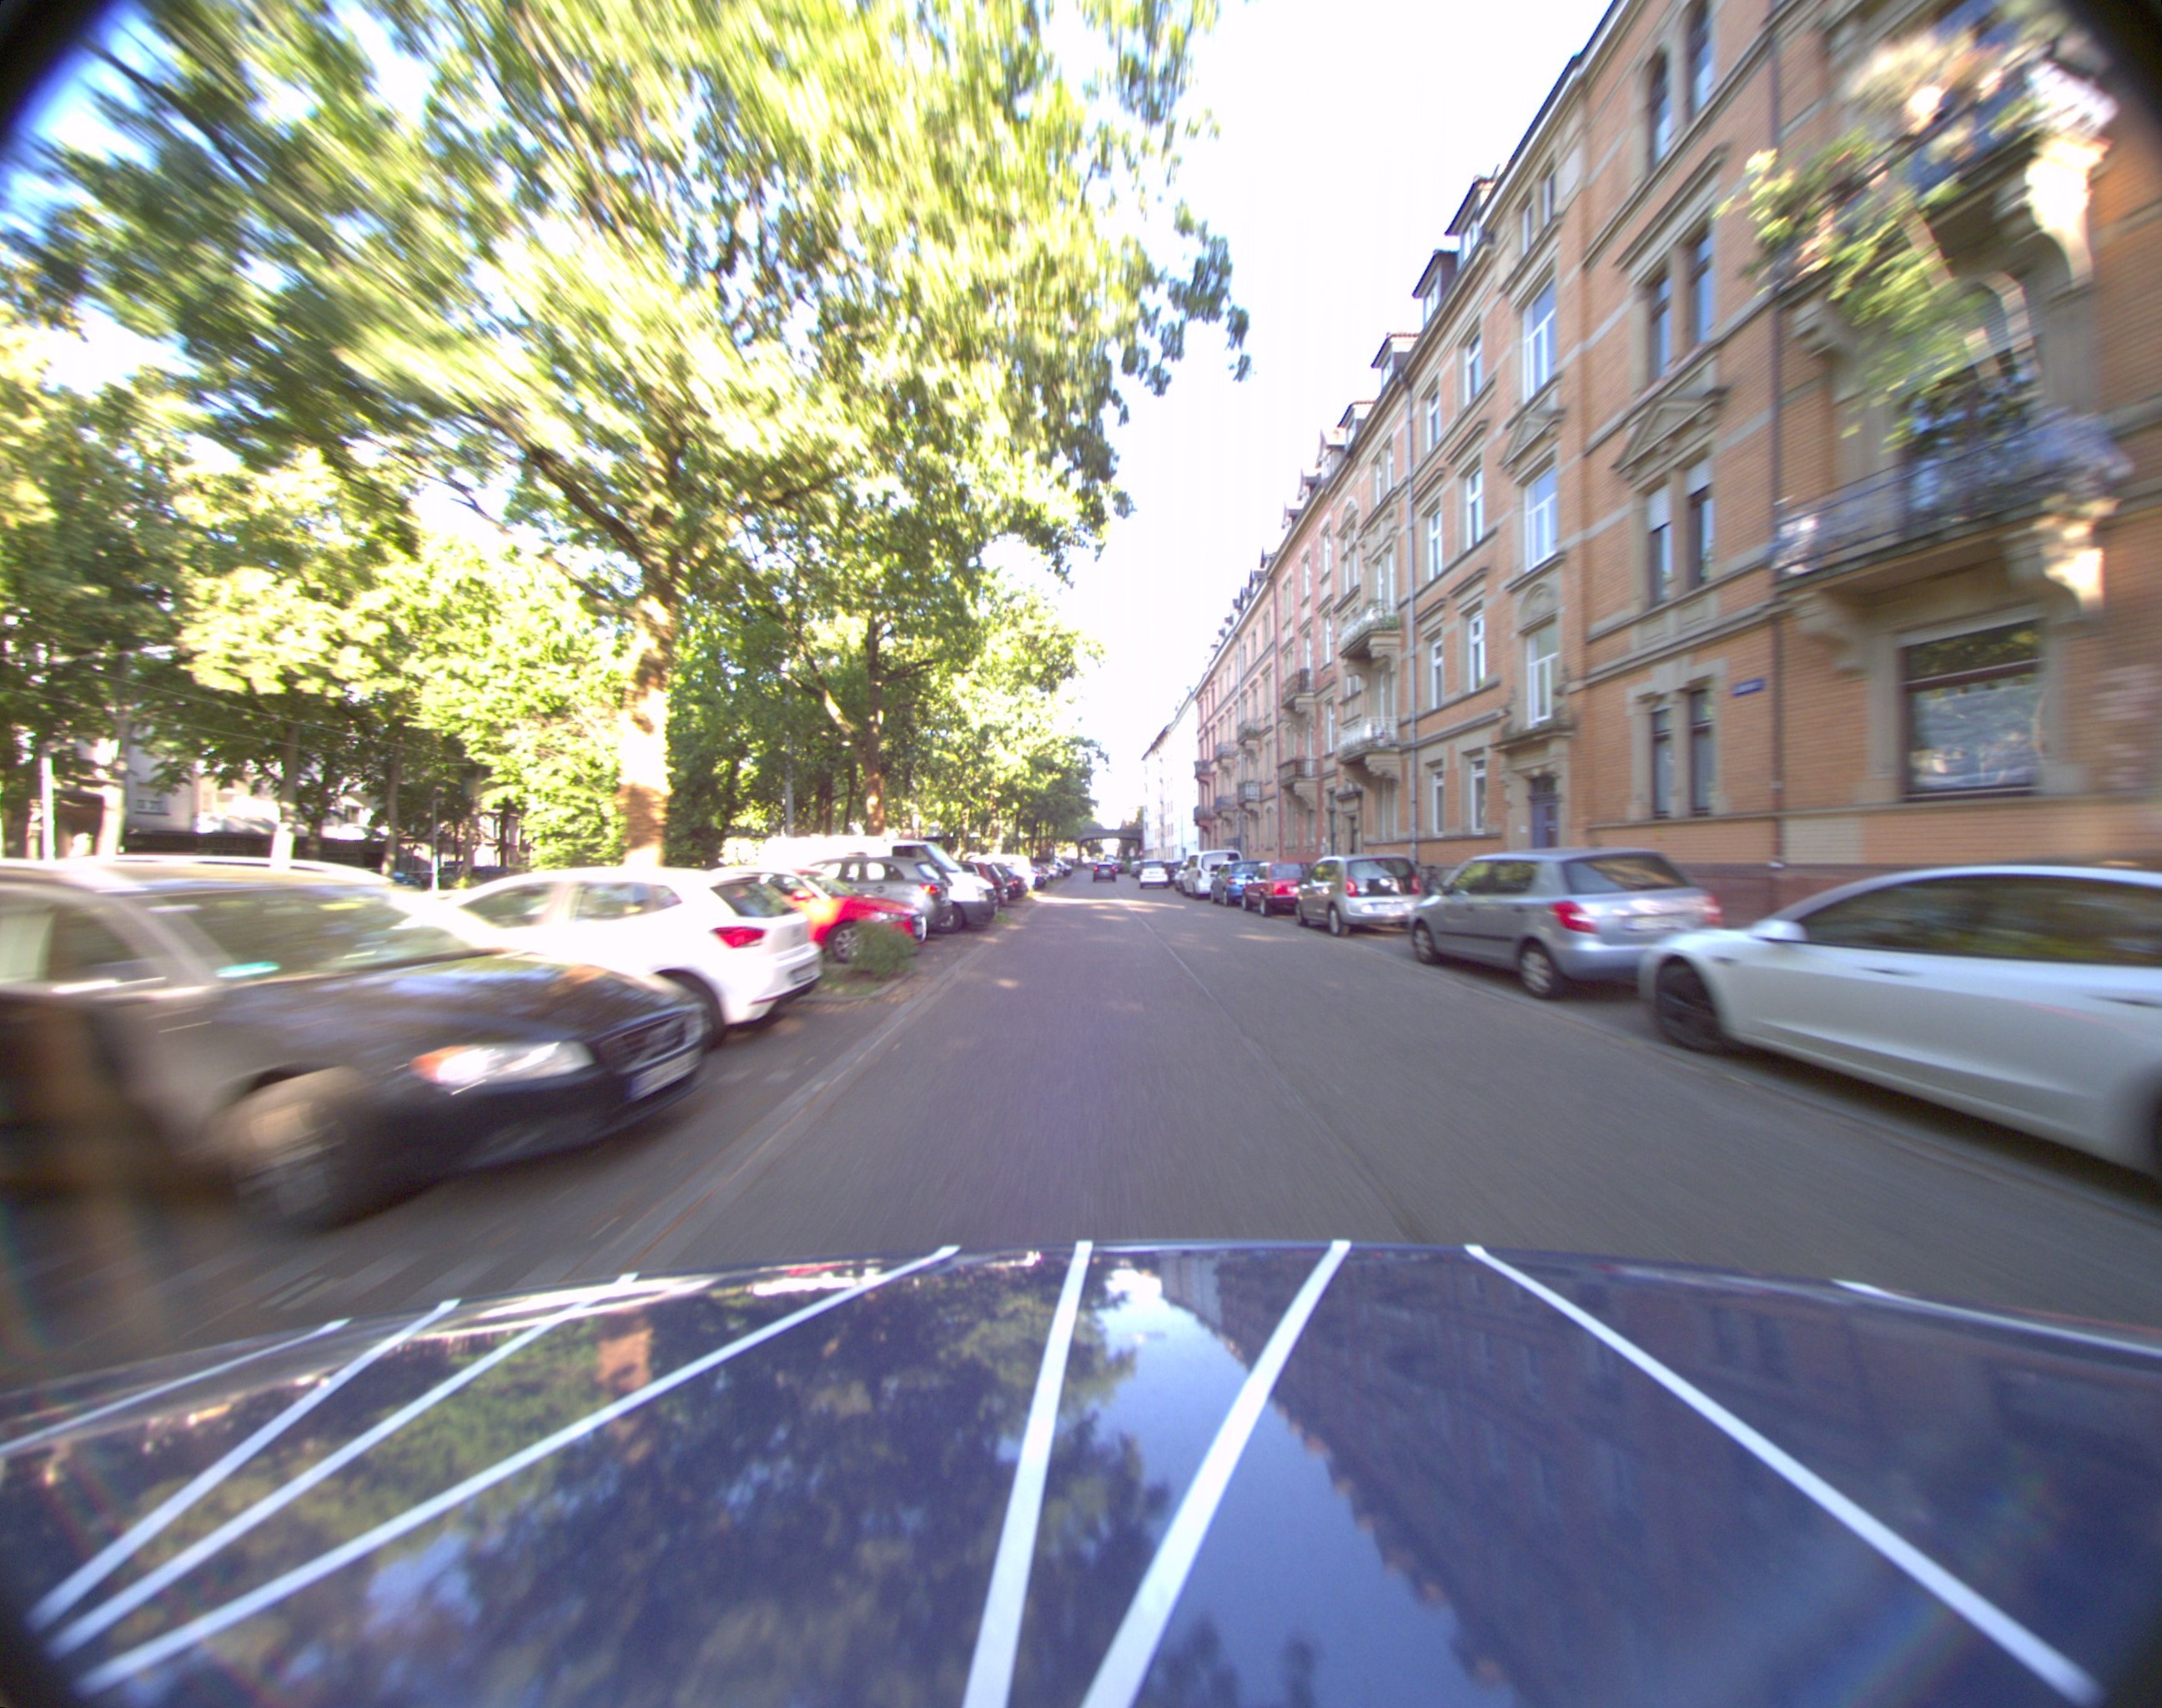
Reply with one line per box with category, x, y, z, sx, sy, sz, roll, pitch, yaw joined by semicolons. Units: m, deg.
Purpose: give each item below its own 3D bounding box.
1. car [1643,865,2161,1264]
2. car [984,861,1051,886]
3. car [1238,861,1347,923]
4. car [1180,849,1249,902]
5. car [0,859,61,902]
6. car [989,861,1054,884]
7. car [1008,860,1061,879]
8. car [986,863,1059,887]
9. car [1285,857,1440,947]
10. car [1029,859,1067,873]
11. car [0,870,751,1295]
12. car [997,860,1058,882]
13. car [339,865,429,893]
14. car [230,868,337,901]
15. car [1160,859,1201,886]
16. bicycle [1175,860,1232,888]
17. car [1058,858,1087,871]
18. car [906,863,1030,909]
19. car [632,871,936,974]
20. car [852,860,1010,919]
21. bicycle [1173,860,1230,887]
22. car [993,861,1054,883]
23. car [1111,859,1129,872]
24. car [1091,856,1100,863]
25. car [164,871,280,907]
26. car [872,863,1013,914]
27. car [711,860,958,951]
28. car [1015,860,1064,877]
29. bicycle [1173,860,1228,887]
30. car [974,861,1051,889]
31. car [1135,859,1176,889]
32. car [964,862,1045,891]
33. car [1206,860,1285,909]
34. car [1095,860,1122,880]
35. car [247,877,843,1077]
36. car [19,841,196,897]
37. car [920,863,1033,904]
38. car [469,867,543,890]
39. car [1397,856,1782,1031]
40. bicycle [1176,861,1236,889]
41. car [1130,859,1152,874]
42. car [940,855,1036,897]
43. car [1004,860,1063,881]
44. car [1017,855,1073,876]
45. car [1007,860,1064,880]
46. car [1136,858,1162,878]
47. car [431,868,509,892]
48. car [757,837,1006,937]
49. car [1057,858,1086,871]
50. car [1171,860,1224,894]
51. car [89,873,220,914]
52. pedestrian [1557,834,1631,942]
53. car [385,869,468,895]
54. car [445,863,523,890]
car;5.138;0.843;3.684;1.780;1.466;4.272;-3;0;3
car;-3.912;1.176;47.046;3.997;1.480;1.684;0;0;1
car;5.440;0.927;20.105;1.767;1.375;4.291;-3;0;2
car;5.307;0.825;30.800;1.912;1.871;4.725;-3;0;1
car;-39.615;0.944;26.624;2.000;1.558;4.608;0;0;-11
car;-3.789;1.179;49.009;3.997;1.480;1.684;0;0;1
car;-3.697;1.227;61.208;4.130;1.480;1.684;0;0;1
car;-3.316;1.207;43.541;3.997;1.331;1.684;0;0;1
car;5.310;0.839;14.852;1.688;1.466;3.709;-3;0;1
car;-3.616;1.326;83.935;4.130;1.480;1.684;0;0;1
car;-4.540;0.911;4.006;4.711;1.563;2.000;0;1;3
car;-3.775;1.181;53.950;4.130;1.513;1.684;0;0;1
car;-34.760;1.212;37.892;3.990;1.271;1.751;0;0;22
car;-33.519;1.252;31.943;3.990;1.271;1.751;0;0;22
car;5.953;1.082;45.813;1.880;1.433;4.393;-3;0;1
bicycle;6.689;1.099;41.579;3.043;1.476;0.817;0;0;1
car;-1.248;1.611;115.567;4.389;1.676;1.882;-3;0;1
car;-3.818;1.077;26.100;3.997;1.480;1.684;0;0;1
car;-4.394;0.993;11.656;3.997;1.415;1.684;0;0;1
car;-4.057;0.955;20.988;3.997;1.544;1.684;0;0;1
bicycle;6.722;1.101;42.465;3.043;1.476;0.817;0;0;1
car;-3.879;1.194;51.472;3.997;1.480;1.684;0;0;1
car;4.652;1.347;90.975;1.880;1.433;4.393;-3;0;1
car;3.165;1.223;167.105;1.880;1.433;4.393;-3;0;1
car;-33.337;1.320;29.490;3.990;1.271;1.751;0;0;22
car;-4.207;1.045;23.485;3.997;1.480;1.684;0;0;1
car;-4.419;0.898;14.064;3.997;1.570;1.766;0;0;-1
car;-3.605;1.243;65.859;4.130;1.480;1.684;0;0;1
bicycle;6.787;1.102;43.324;3.043;1.476;0.817;0;0;1
car;-3.703;1.116;41.601;3.997;1.480;1.684;0;0;1
car;4.136;1.088;42.846;1.880;1.527;4.393;-3;0;1
car;-3.879;1.138;38.957;3.997;1.480;1.684;0;0;1
car;5.340;0.954;25.166;1.767;1.430;3.888;-3;0;1
car;2.053;1.193;57.652;1.881;1.422;4.393;-3;0;1
car;-4.343;0.949;6.601;3.997;1.452;1.684;0;0;1
car;-40.563;0.588;31.881;2.000;2.160;4.608;0;0;-11
car;-3.911;1.094;28.879;3.997;1.480;1.684;0;0;1
car;-34.818;1.465;45.989;3.990;1.271;1.751;0;0;22
car;5.298;0.809;8.638;1.688;1.466;3.882;-3;0;-1
bicycle;6.684;1.095;40.715;3.043;1.476;0.817;0;0;1
car;5.888;1.218;75.252;1.880;1.433;4.393;-3;0;1
car;-4.058;0.951;33.505;3.997;1.821;1.684;0;0;1
car;-3.500;1.198;56.234;4.263;1.480;1.684;0;0;1
car;-3.306;1.049;70.411;5.095;1.831;1.832;0;0;1
car;-3.499;1.209;58.539;4.263;1.480;1.684;0;0;1
car;5.790;1.178;65.277;1.880;1.559;4.393;-3;0;1
car;-35.215;1.486;43.784;3.990;1.271;1.751;0;0;22
car;-4.191;0.688;16.624;4.856;2.026;2.155;0;0;1
car;-1.444;1.630;117.837;4.389;1.676;1.882;-3;0;1
car;5.540;1.059;36.542;1.880;1.433;4.393;-3;0;1
car;-32.358;1.341;26.541;3.990;1.271;1.751;0;0;22
pedestrian;8.521;0.555;12.646;0.675;1.708;0.722;-3;0;0
car;-35.462;1.498;41.176;3.990;1.271;1.751;0;0;22
car;-39.081;1.456;49.751;3.994;1.756;1.749;0;0;8
